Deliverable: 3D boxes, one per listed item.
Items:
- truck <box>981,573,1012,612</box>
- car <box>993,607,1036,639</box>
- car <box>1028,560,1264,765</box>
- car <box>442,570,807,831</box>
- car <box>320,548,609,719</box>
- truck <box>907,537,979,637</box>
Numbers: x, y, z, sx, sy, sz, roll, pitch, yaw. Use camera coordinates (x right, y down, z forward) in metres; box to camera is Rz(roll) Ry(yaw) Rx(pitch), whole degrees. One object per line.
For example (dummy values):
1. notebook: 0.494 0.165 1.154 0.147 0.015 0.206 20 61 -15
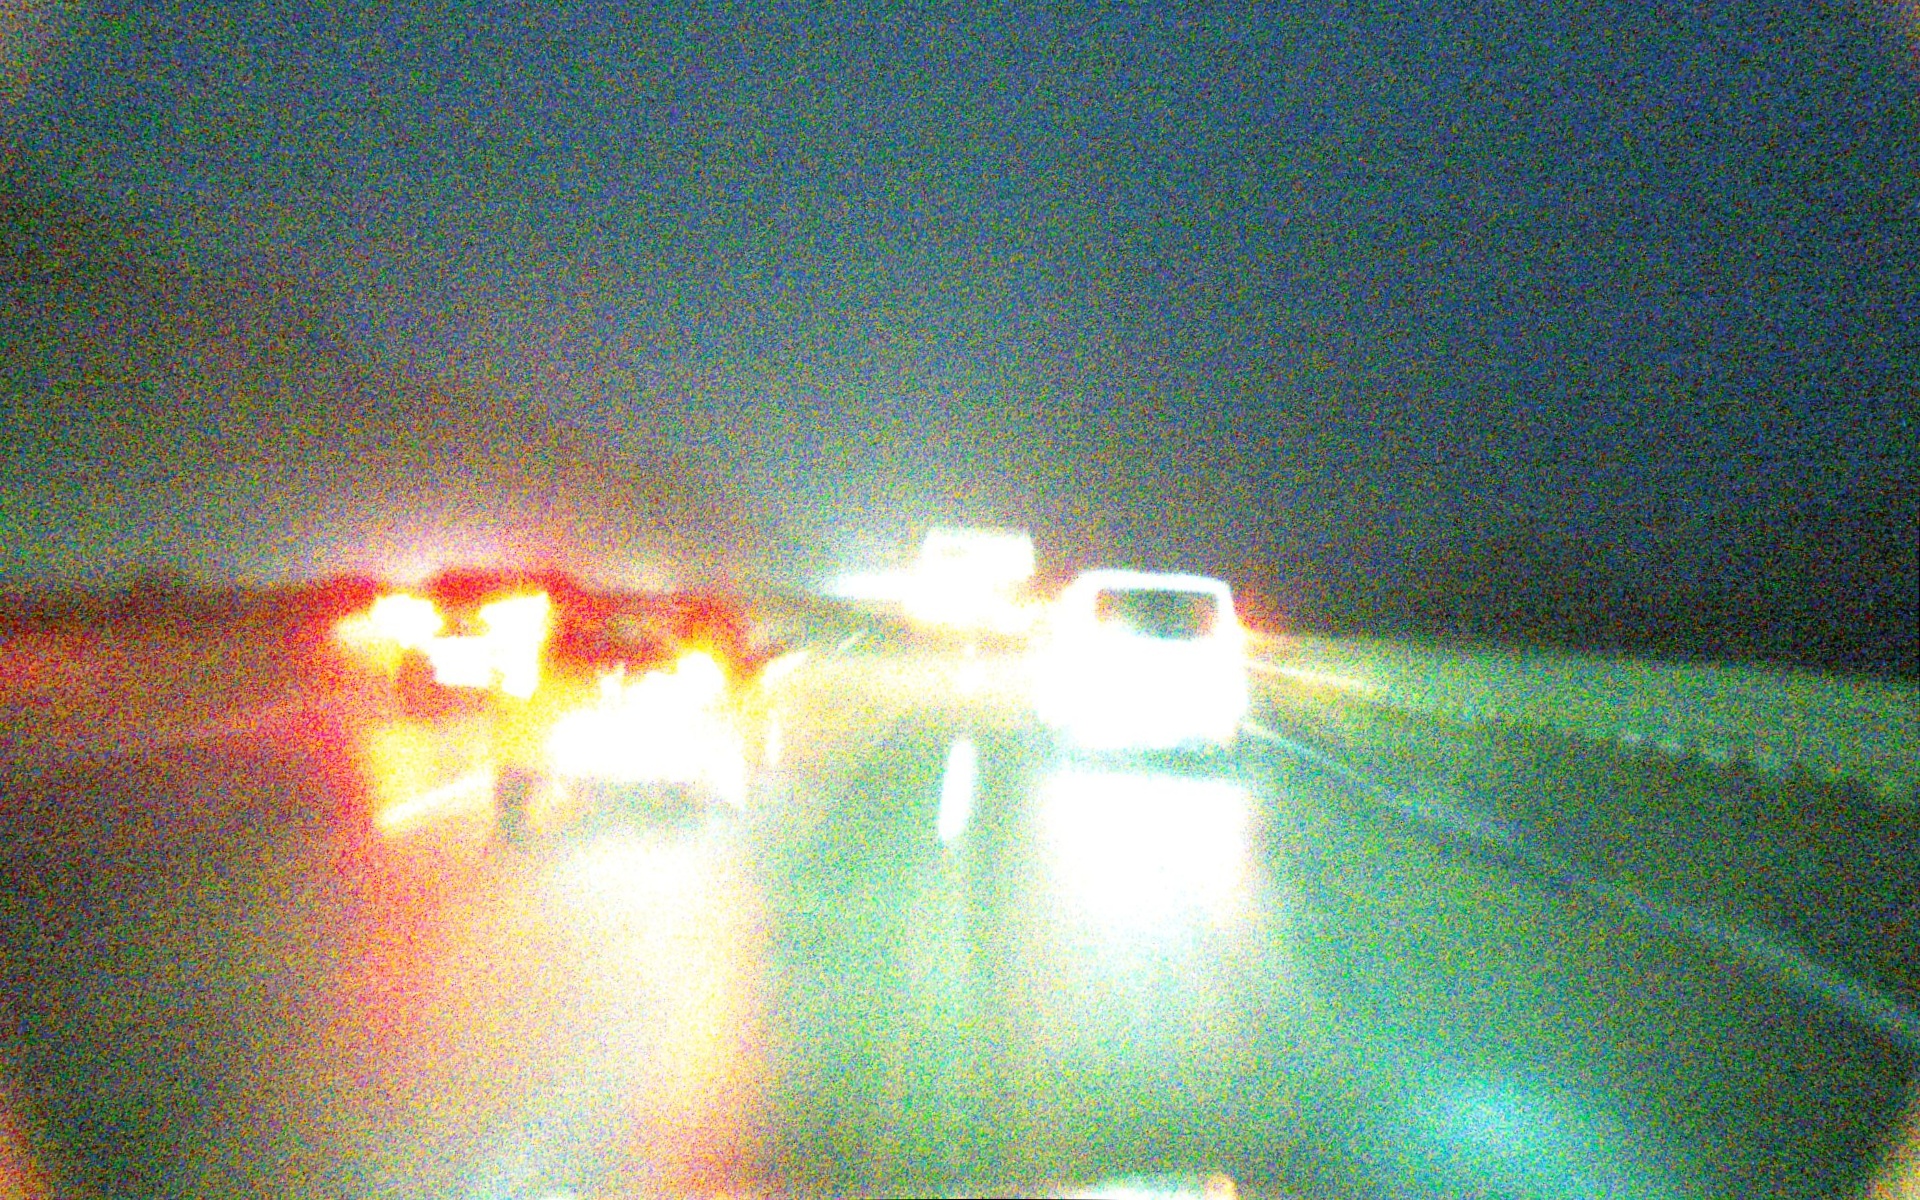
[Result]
1. truck: 4.790 -0.987 221.026 3.746 5.001 11.604 1 -1 0
2. car: 2.642 1.099 81.104 1.852 1.377 3.999 4 0 -1
3. car: 1.780 0.594 17.445 1.913 1.823 5.123 0 -1 0
4. car: -2.301 0.658 12.516 1.876 1.622 4.233 0 -1 0
5. car: -5.776 0.385 19.999 1.952 1.808 4.887 0 -1 1
6. truck: -0.998 -0.671 100.888 4.082 5.642 13.072 0 -1 0
